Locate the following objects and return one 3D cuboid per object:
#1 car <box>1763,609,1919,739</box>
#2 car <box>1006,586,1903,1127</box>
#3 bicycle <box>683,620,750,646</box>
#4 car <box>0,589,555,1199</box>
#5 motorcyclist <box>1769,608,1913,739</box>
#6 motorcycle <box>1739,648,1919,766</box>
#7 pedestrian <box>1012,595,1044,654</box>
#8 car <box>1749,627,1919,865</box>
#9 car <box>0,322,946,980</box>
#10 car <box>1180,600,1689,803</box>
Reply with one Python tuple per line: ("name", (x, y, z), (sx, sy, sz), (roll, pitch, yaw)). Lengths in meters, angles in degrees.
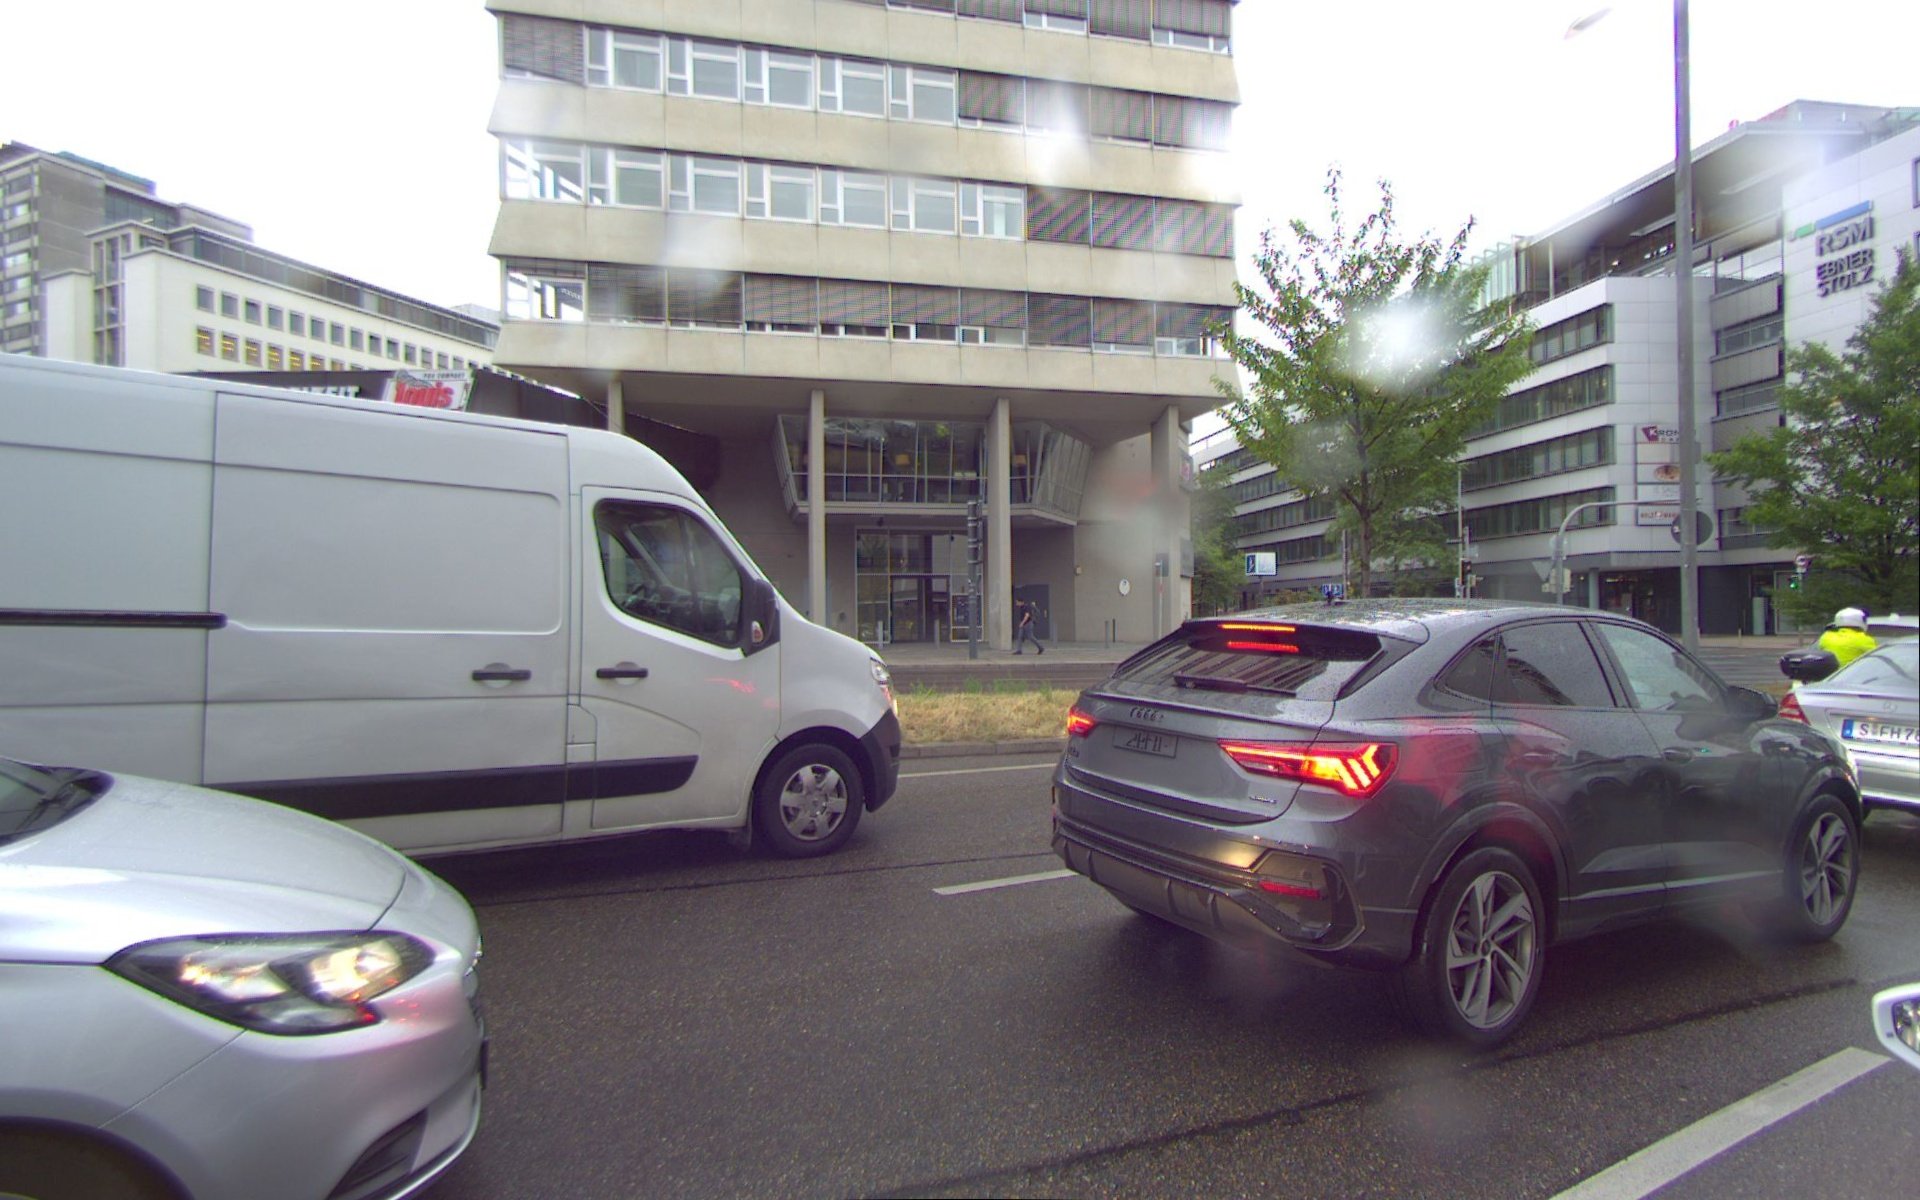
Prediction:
("car", (12.857, 0.940, 13.291), (3.940, 1.506, 1.704), (2, 0, -21))
("car", (2.432, 0.757, 4.636), (4.220, 1.542, 1.640), (1, 0, -30))
("bicycle", (-8.273, 1.130, 34.175), (2.165, 0.871, 0.456), (2, 0, -31))
("car", (-2.859, 0.693, 1.690), (3.831, 1.455, 1.639), (1, 0, -32))
("motorcyclist", (9.924, 0.804, 11.328), (1.101, 1.398, 0.769), (2, 0, -21))
("motorcycle", (9.841, 1.167, 11.286), (1.998, 1.200, 0.799), (2, 0, -21))
("pedestrian", (1.995, 0.722, 29.592), (0.751, 1.706, 0.677), (1, 0, -16))
("car", (7.678, 0.964, 7.064), (4.050, 1.426, 1.567), (2, 0, -23))
("car", (-2.856, 0.208, 5.492), (5.425, 2.473, 1.933), (1, 0, -35))
("car", (4.595, 0.823, 9.624), (4.713, 1.554, 1.859), (1, 0, -26))
